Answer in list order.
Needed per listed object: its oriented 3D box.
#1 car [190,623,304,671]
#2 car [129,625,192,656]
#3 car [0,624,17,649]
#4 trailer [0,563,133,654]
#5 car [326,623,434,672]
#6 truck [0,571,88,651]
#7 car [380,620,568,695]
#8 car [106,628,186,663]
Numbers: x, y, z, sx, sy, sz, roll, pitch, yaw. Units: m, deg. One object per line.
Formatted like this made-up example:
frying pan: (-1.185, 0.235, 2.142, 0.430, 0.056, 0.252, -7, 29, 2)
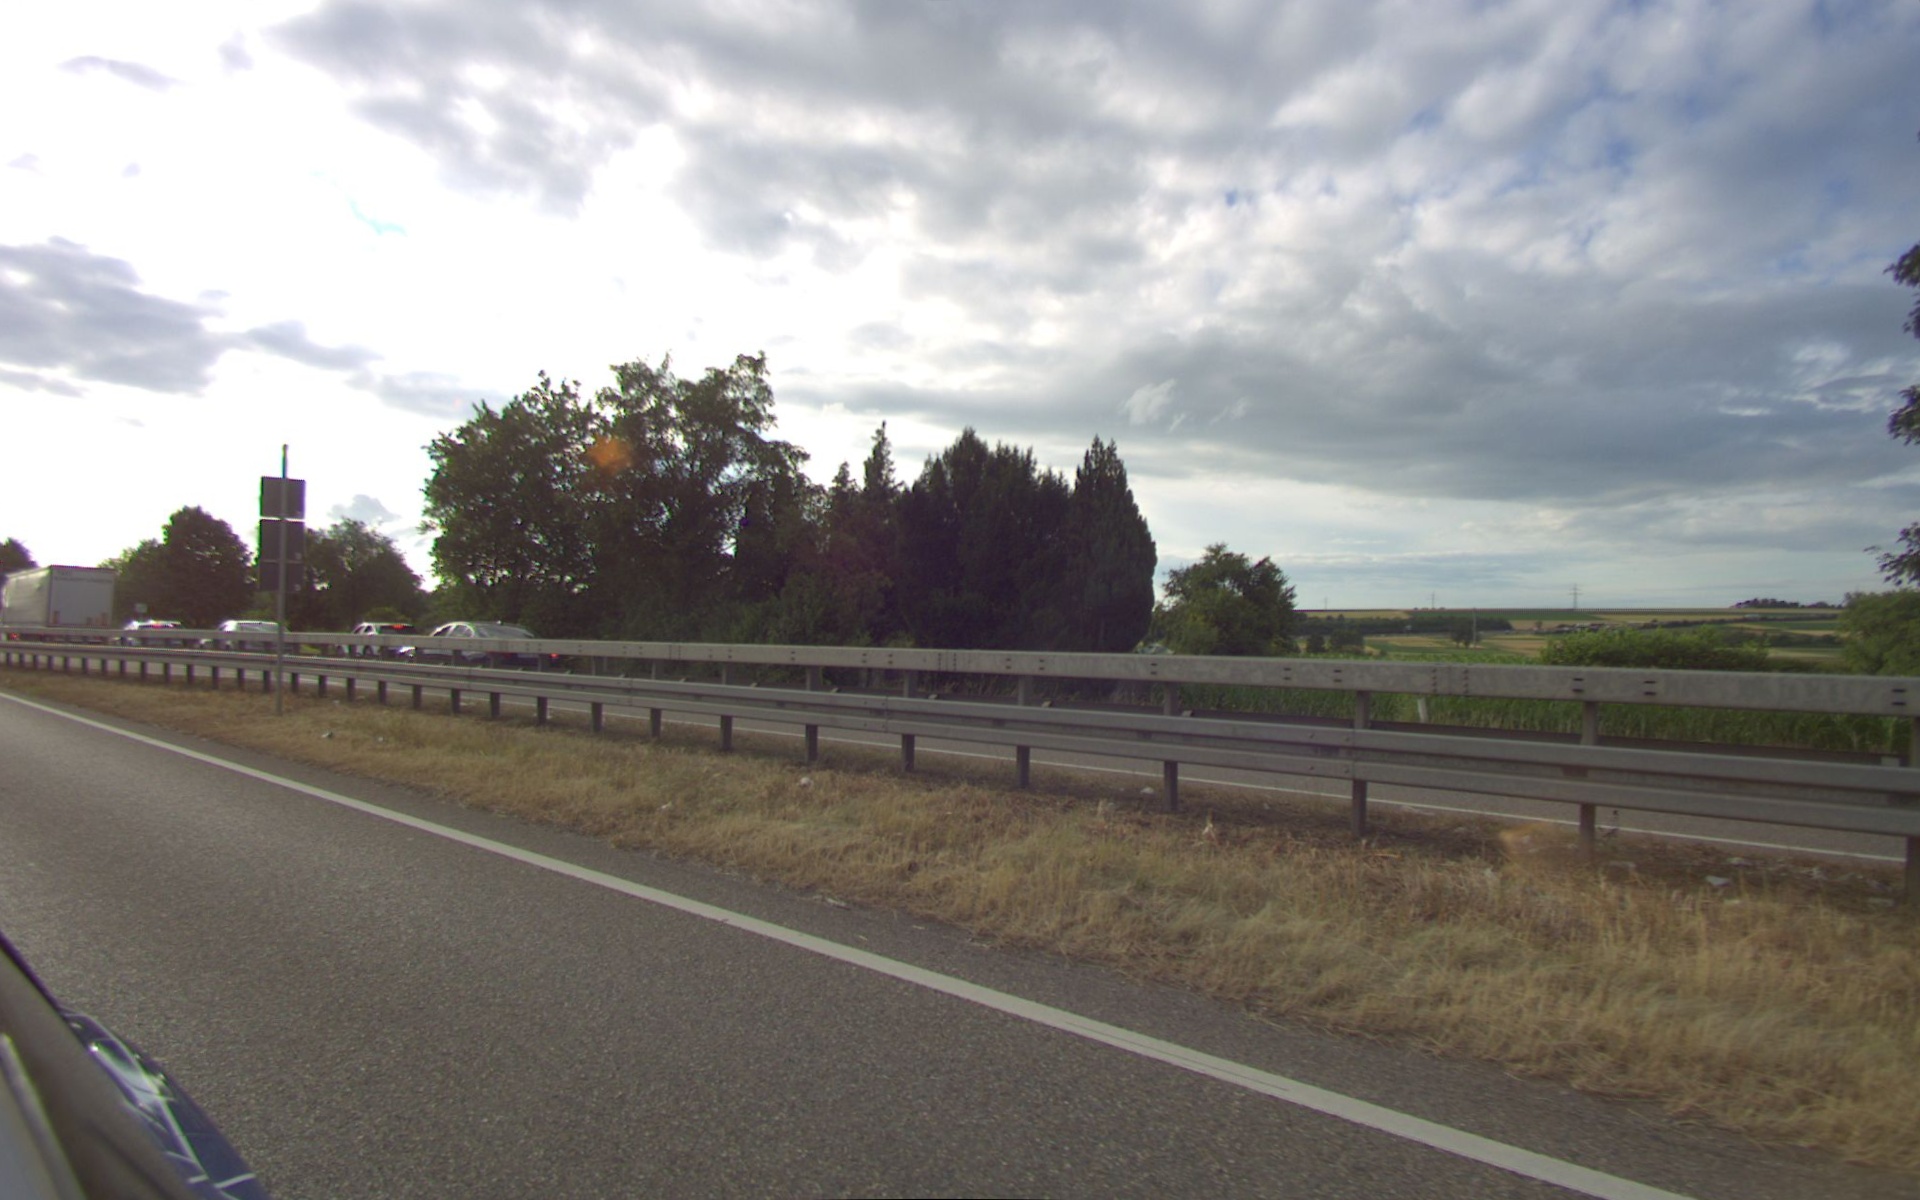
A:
car: (-23.431, 1.516, 33.192, 4.821, 1.489, 1.848, -1, -3, 40)
car: (-42.906, 2.166, 54.282, 4.156, 1.585, 1.771, -1, -3, 40)
car: (-65.494, 2.461, 68.449, 4.401, 1.622, 1.888, -1, -3, 40)
trailer: (-47.222, 0.584, 52.908, 13.904, 4.182, 3.430, -1, -4, 40)
car: (-19.908, 1.590, 34.698, 4.148, 1.576, 1.848, -1, -3, 40)
truck: (-51.963, 0.706, 56.825, 6.044, 4.182, 3.439, -1, -4, 40)
car: (-10.845, 1.221, 22.429, 4.931, 1.489, 1.848, -1, -3, 40)
car: (-33.630, 1.853, 41.784, 4.156, 1.396, 1.771, -1, -3, 40)
